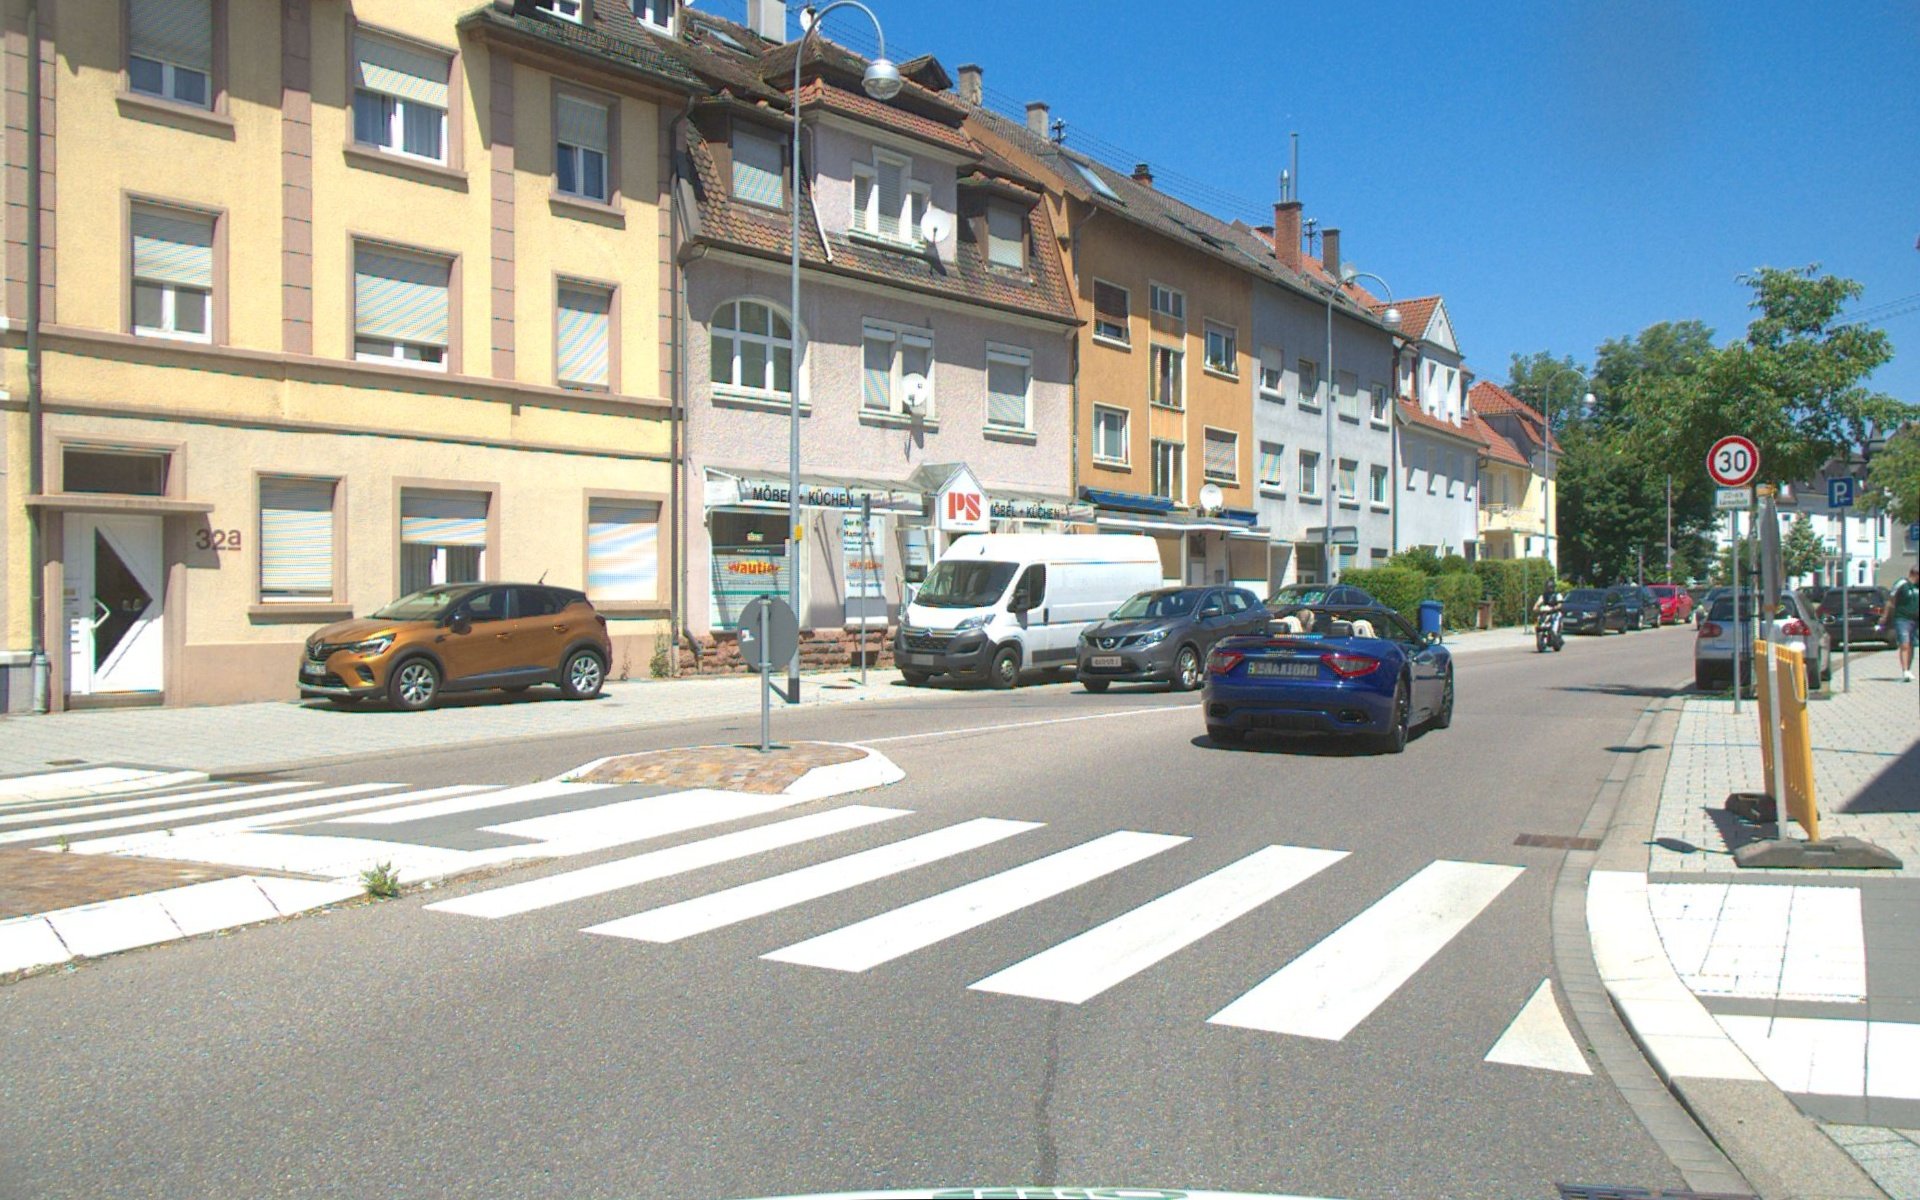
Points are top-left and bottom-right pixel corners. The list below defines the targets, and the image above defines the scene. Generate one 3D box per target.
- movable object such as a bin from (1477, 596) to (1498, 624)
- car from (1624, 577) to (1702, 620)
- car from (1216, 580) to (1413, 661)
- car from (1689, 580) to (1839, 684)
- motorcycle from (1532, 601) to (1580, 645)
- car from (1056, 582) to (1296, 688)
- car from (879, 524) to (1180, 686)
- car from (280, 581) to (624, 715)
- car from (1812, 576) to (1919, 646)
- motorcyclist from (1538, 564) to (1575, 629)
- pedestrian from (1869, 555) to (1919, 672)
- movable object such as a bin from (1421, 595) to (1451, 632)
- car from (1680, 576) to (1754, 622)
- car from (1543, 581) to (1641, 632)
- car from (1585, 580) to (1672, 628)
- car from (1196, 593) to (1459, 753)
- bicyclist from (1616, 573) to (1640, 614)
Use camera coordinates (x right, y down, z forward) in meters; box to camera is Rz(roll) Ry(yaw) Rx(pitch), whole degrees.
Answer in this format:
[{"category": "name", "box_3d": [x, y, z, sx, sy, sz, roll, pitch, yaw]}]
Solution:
[{"category": "movable object such as a bin", "box_3d": [17.447, 0.332, 54.723, 0.485, 0.927, 0.704, -1, 0, 34]}, {"category": "car", "box_3d": [27.144, -0.103, 63.780, 1.845, 1.505, 4.722, 3, 2, 34]}, {"category": "car", "box_3d": [8.096, 0.391, 37.427, 2.056, 1.642, 5.075, 1, 2, 43]}, {"category": "car", "box_3d": [12.845, 0.491, 26.297, 1.779, 1.502, 4.498, -2, -1, 30]}, {"category": "motorcycle", "box_3d": [14.436, 0.553, 40.015, 0.596, 1.018, 1.792, -1, 0, 37]}, {"category": "car", "box_3d": [3.497, 0.531, 26.112, 1.766, 1.515, 4.370, -3, -2, 38]}, {"category": "car", "box_3d": [1.369, 0.020, 28.584, 2.085, 2.492, 6.091, 2, 2, 37]}, {"category": "car", "box_3d": [-6.591, 0.546, 21.825, 1.766, 1.568, 4.096, 1, 1, 38]}, {"category": "car", "box_3d": [22.013, 0.225, 40.083, 1.801, 1.530, 5.048, -3, -1, 34]}, {"category": "motorcyclist", "box_3d": [14.437, -0.094, 40.029, 0.591, 1.551, 0.892, -1, 0, 36]}, {"category": "pedestrian", "box_3d": [14.858, 0.203, 25.741, 1.149, 1.763, 1.189, -4, -2, 30]}, {"category": "movable object such as a bin", "box_3d": [13.975, 0.400, 48.526, 0.661, 1.066, 0.650, -2, 0, 34]}, {"category": "car", "box_3d": [26.104, -0.053, 56.979, 1.700, 1.436, 3.989, -3, 0, 33]}, {"category": "car", "box_3d": [20.471, 0.175, 53.488, 1.759, 1.484, 4.178, 3, 3, 38]}, {"category": "car", "box_3d": [23.851, 0.101, 58.884, 1.831, 1.487, 5.291, 2, 2, 34]}, {"category": "car", "box_3d": [3.898, 0.645, 16.915, 1.833, 1.365, 4.594, 1, 0, 23]}, {"category": "bicyclist", "box_3d": [28.178, -0.284, 69.780, 0.768, 1.688, 0.833, -1, 0, 33]}]
